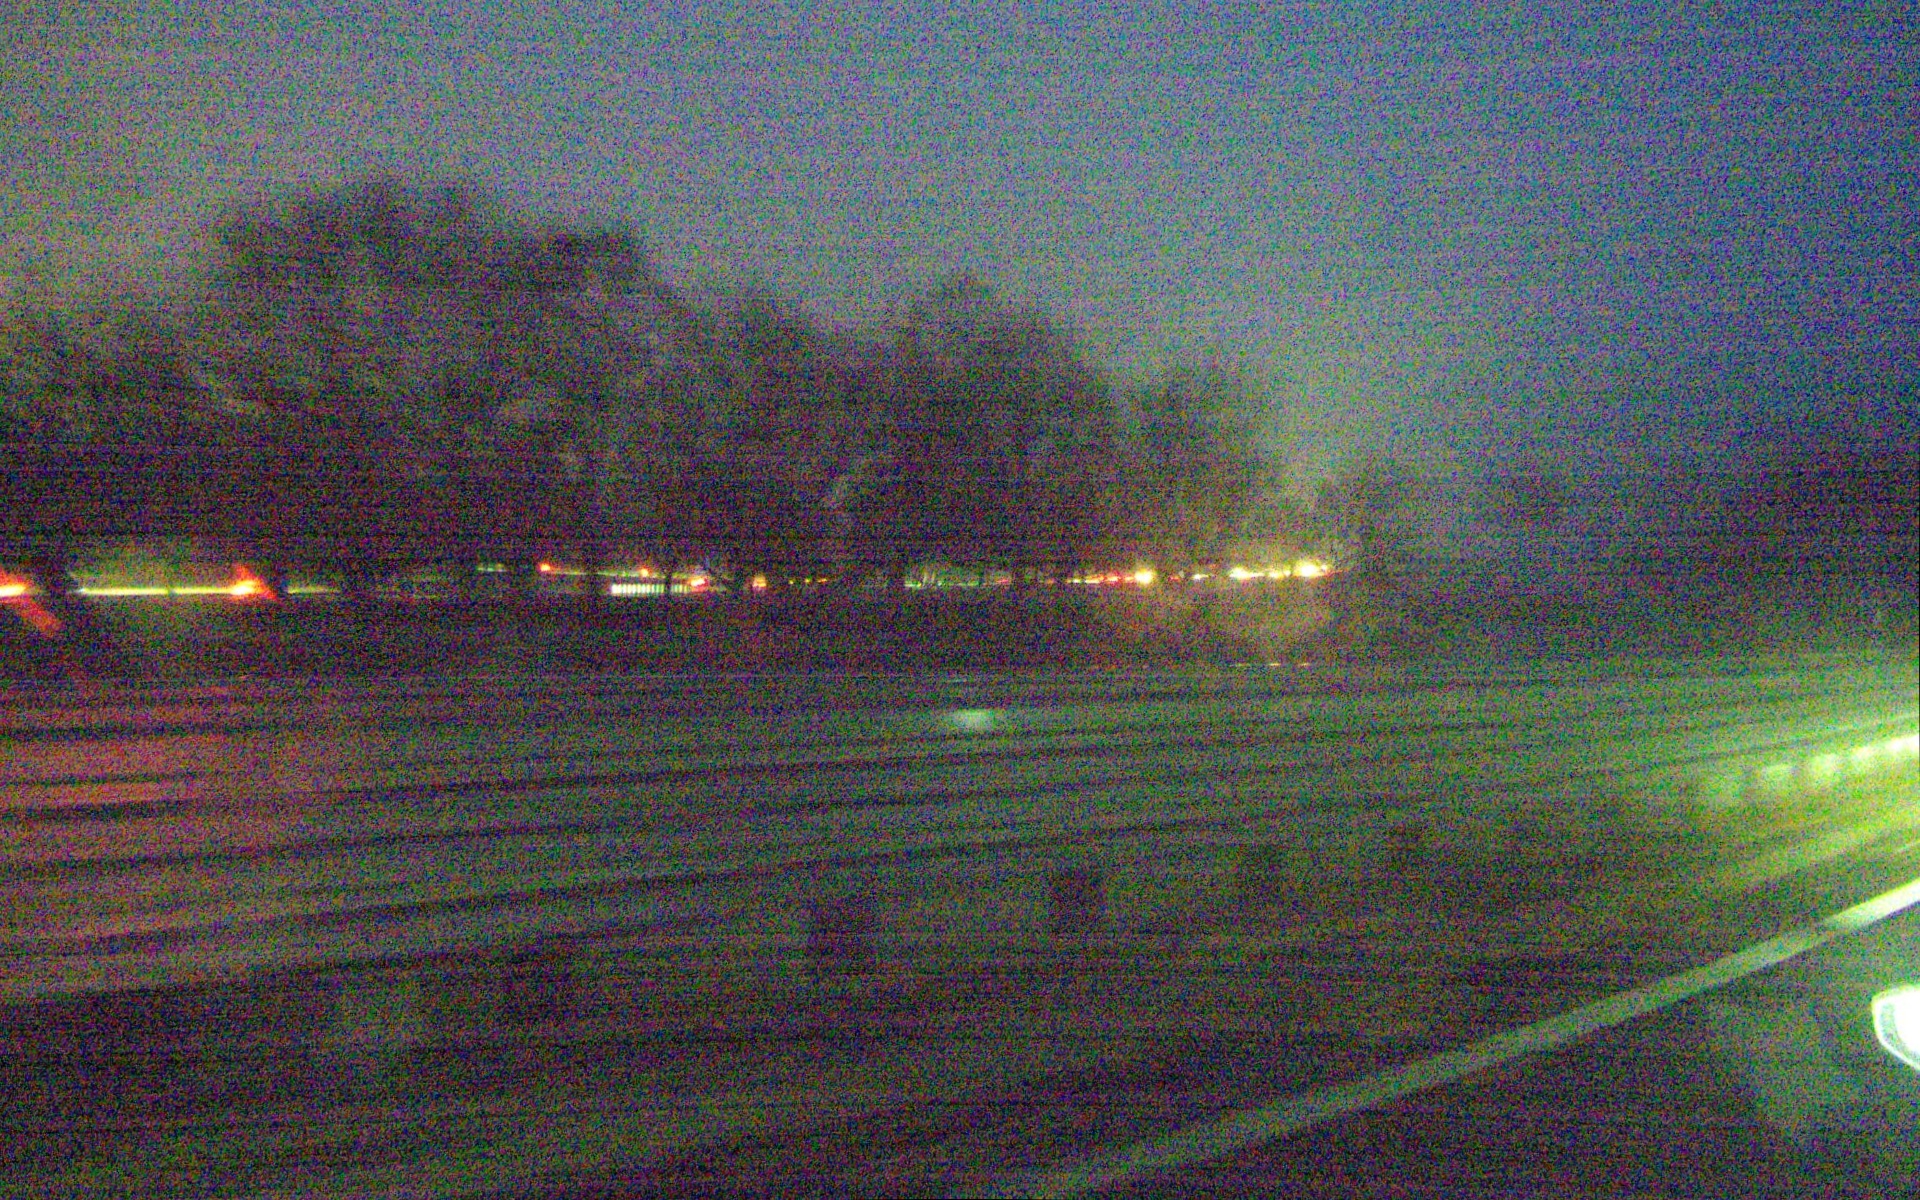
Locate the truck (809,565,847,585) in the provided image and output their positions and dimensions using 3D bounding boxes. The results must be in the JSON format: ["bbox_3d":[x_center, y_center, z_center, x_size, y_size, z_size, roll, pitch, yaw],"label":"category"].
[{"bbox_3d":[-18.865,-3.614,143.741,2.644,2.726,4.735,4,3,39],"label":"truck"}]

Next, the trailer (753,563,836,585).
[{"bbox_3d":[-22.712,-3.595,138.985,2.655,2.736,12.798,4,3,39],"label":"trailer"}]
